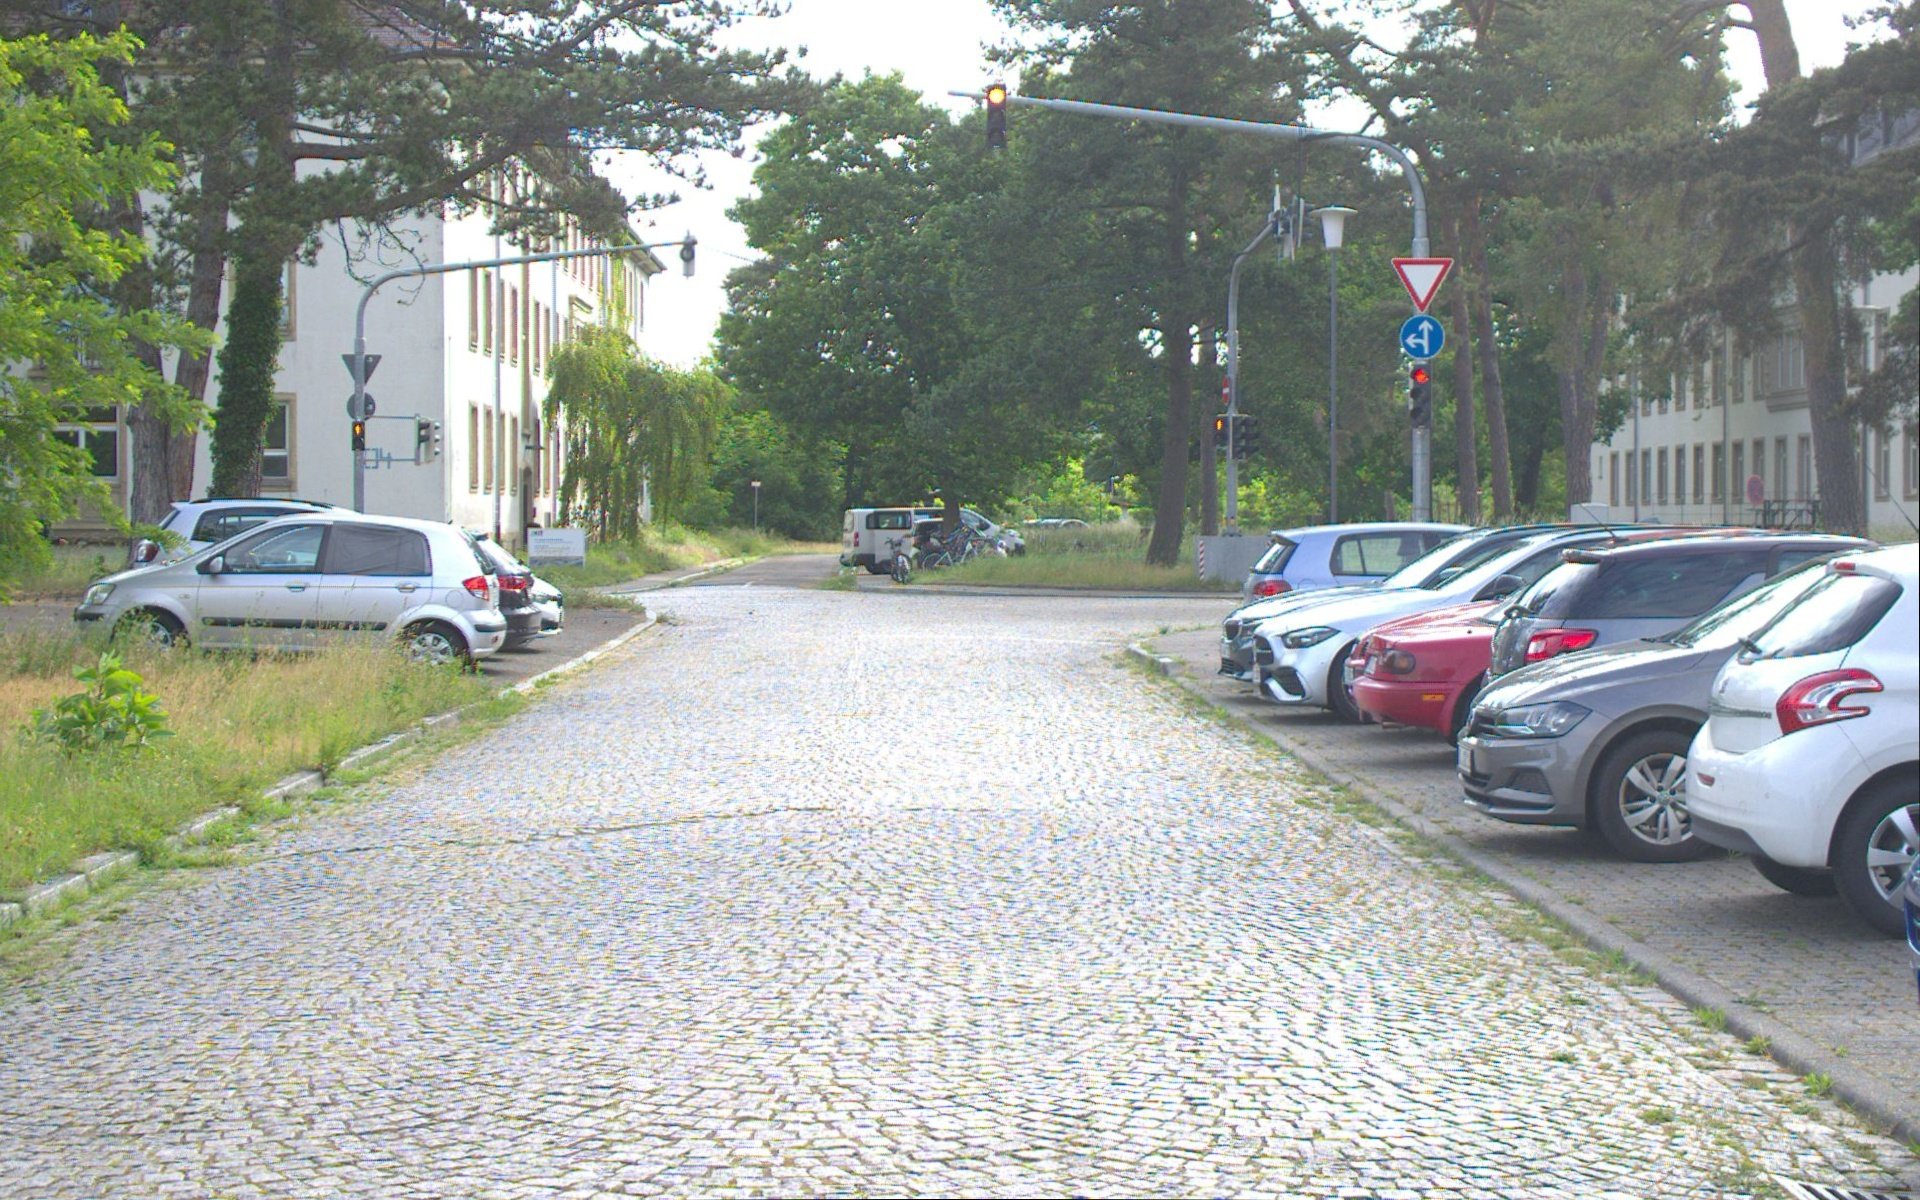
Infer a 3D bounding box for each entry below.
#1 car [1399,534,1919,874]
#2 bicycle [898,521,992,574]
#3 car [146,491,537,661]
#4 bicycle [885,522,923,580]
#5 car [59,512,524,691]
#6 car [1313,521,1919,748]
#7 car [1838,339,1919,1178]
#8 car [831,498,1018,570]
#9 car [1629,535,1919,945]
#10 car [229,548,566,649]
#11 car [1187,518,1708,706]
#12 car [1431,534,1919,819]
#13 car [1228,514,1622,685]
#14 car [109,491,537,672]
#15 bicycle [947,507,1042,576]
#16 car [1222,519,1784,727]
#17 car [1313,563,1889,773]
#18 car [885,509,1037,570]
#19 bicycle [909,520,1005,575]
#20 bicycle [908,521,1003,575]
[{"bbox_3d":[4.103,0.445,16.547,3.597,1.501,1.665,0,2,-12],"label":"car"},{"bbox_3d":[-0.363,-1.263,82.715,2.160,1.264,0.813,0,1,-7],"label":"bicycle"},{"bbox_3d":[-6.536,-0.267,36.611,3.986,1.744,1.927,0,1,-8],"label":"car"},{"bbox_3d":[-1.258,-1.109,77.143,0.810,1.264,1.973,0,1,0],"label":"bicycle"},{"bbox_3d":[-5.952,-0.015,31.049,3.986,1.546,2.001,0,2,-7],"label":"car"},{"bbox_3d":[4.649,0.226,24.395,3.986,1.538,1.664,0,1,-7],"label":"car"},{"bbox_3d":[4.729,0.398,8.200,4.781,2.033,1.738,0,1,-3],"label":"car"},{"bbox_3d":[-1.035,-1.897,98.722,5.049,2.007,2.001,0,1,-11],"label":"car"},{"bbox_3d":[4.492,0.503,13.631,3.292,1.499,1.664,0,2,-3],"label":"car"},{"bbox_3d":[-6.307,-0.031,38.806,3.670,1.090,1.647,0,2,-7],"label":"car"},{"bbox_3d":[4.128,0.079,29.435,4.122,1.538,1.664,0,2,-7],"label":"car"},{"bbox_3d":[4.513,0.385,19.432,3.291,1.499,1.665,0,2,-12],"label":"car"},{"bbox_3d":[4.301,-0.022,32.006,3.388,1.538,1.391,0,2,-7],"label":"car"},{"bbox_3d":[-6.140,-0.210,33.532,3.986,1.700,2.001,0,2,-7],"label":"car"},{"bbox_3d":[0.817,-1.402,82.225,2.160,1.610,0.812,0,1,-7],"label":"bicycle"},{"bbox_3d":[4.154,0.151,26.617,3.986,1.538,1.664,0,2,-7],"label":"car"},{"bbox_3d":[4.074,0.409,22.142,3.291,1.263,1.664,0,2,-7],"label":"car"},{"bbox_3d":[0.000,-1.695,95.463,3.986,1.638,2.001,0,1,-7],"label":"car"},{"bbox_3d":[-0.084,-1.232,80.918,2.160,1.264,0.813,0,1,-7],"label":"bicycle"},{"bbox_3d":[-0.100,-1.240,81.505,2.160,1.264,0.813,0,1,-7],"label":"bicycle"}]
